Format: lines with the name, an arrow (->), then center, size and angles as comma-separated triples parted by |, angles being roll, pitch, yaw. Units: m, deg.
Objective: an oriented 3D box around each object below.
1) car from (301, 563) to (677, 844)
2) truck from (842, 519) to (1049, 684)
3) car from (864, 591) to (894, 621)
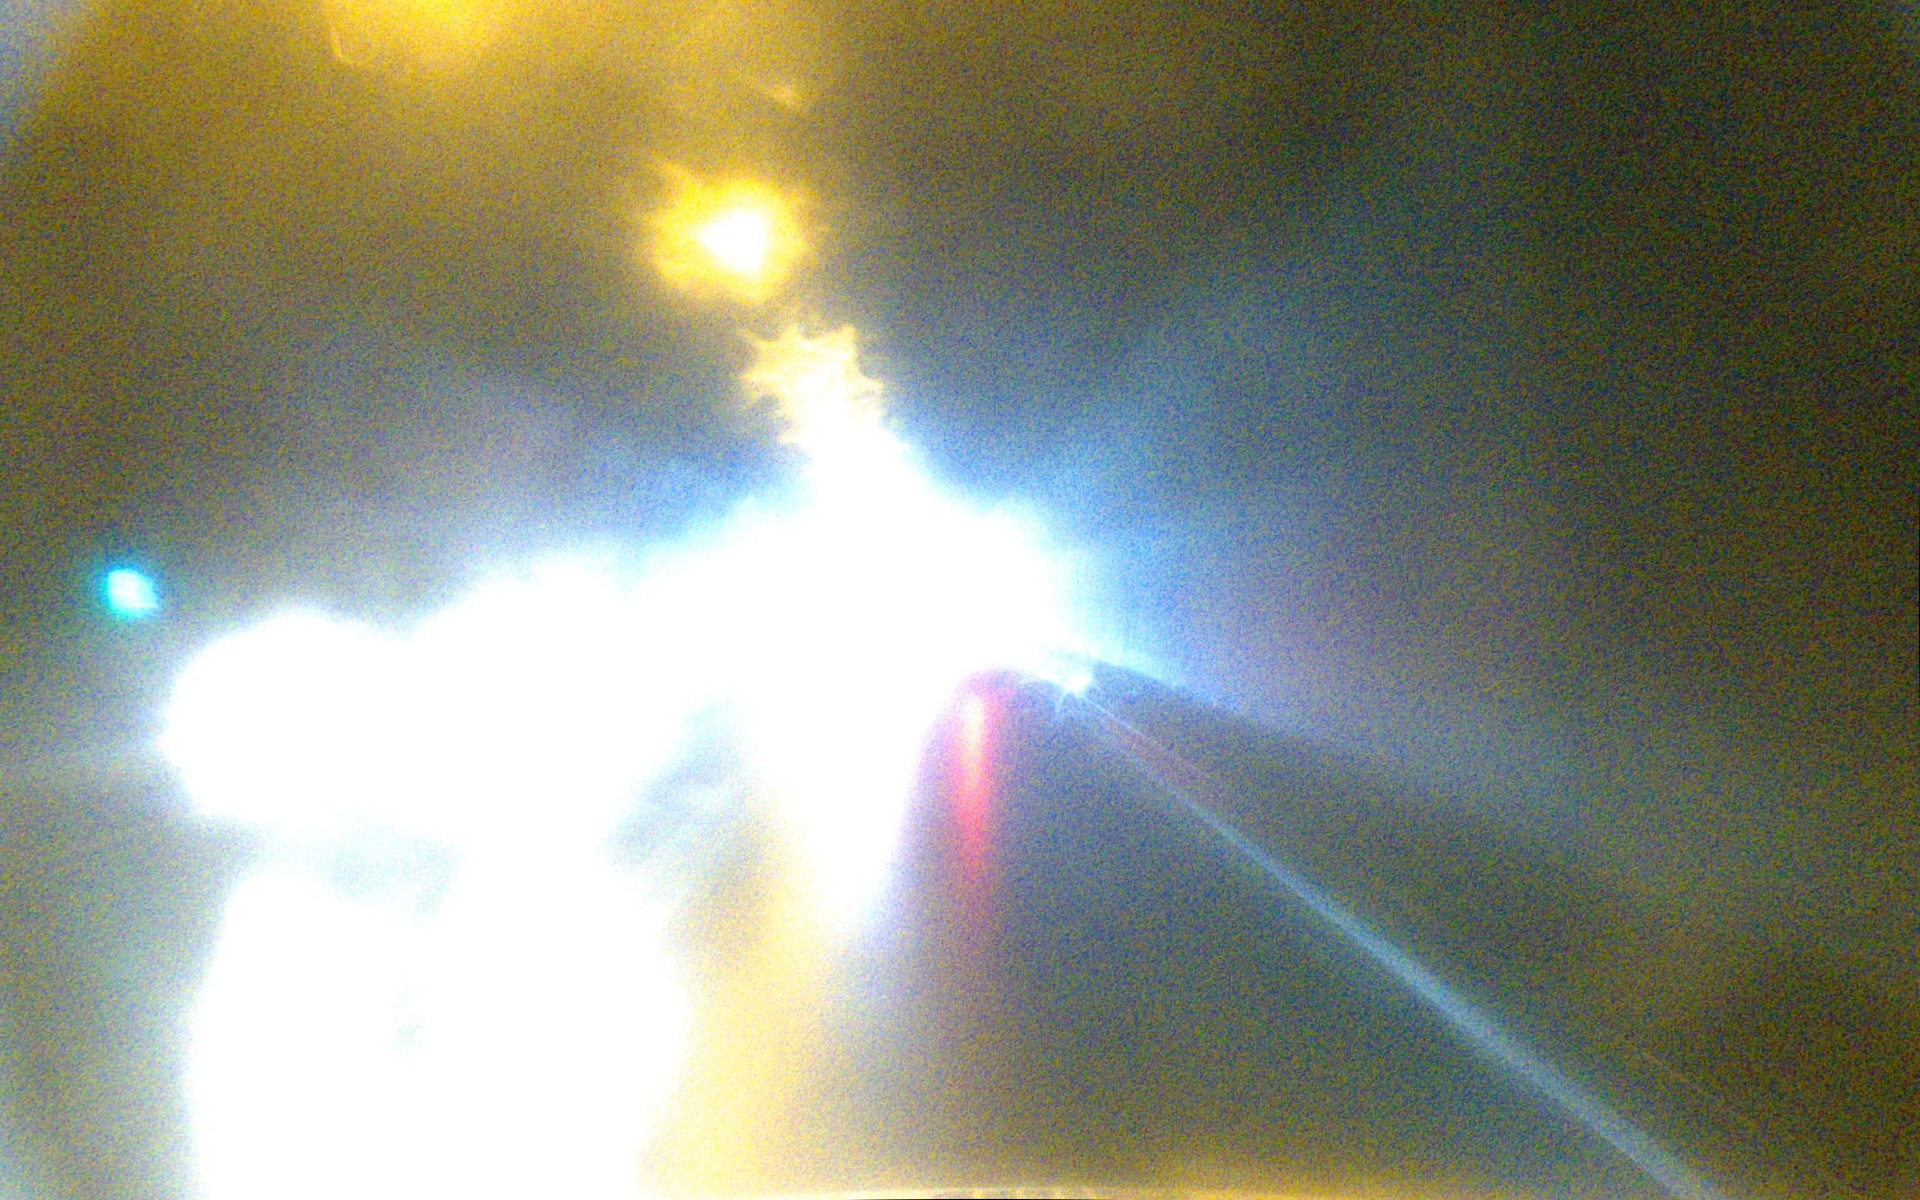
car -> -3.109, 0.607, 11.716 | 1.566, 1.641, 3.995 | 0, 0, -1
truck -> -0.330, 0.014, 32.222 | 3.463, 2.740, 8.953 | 0, 0, -1
car -> -4.521, 0.336, 92.685 | 1.537, 1.660, 3.729 | 0, 0, -1
